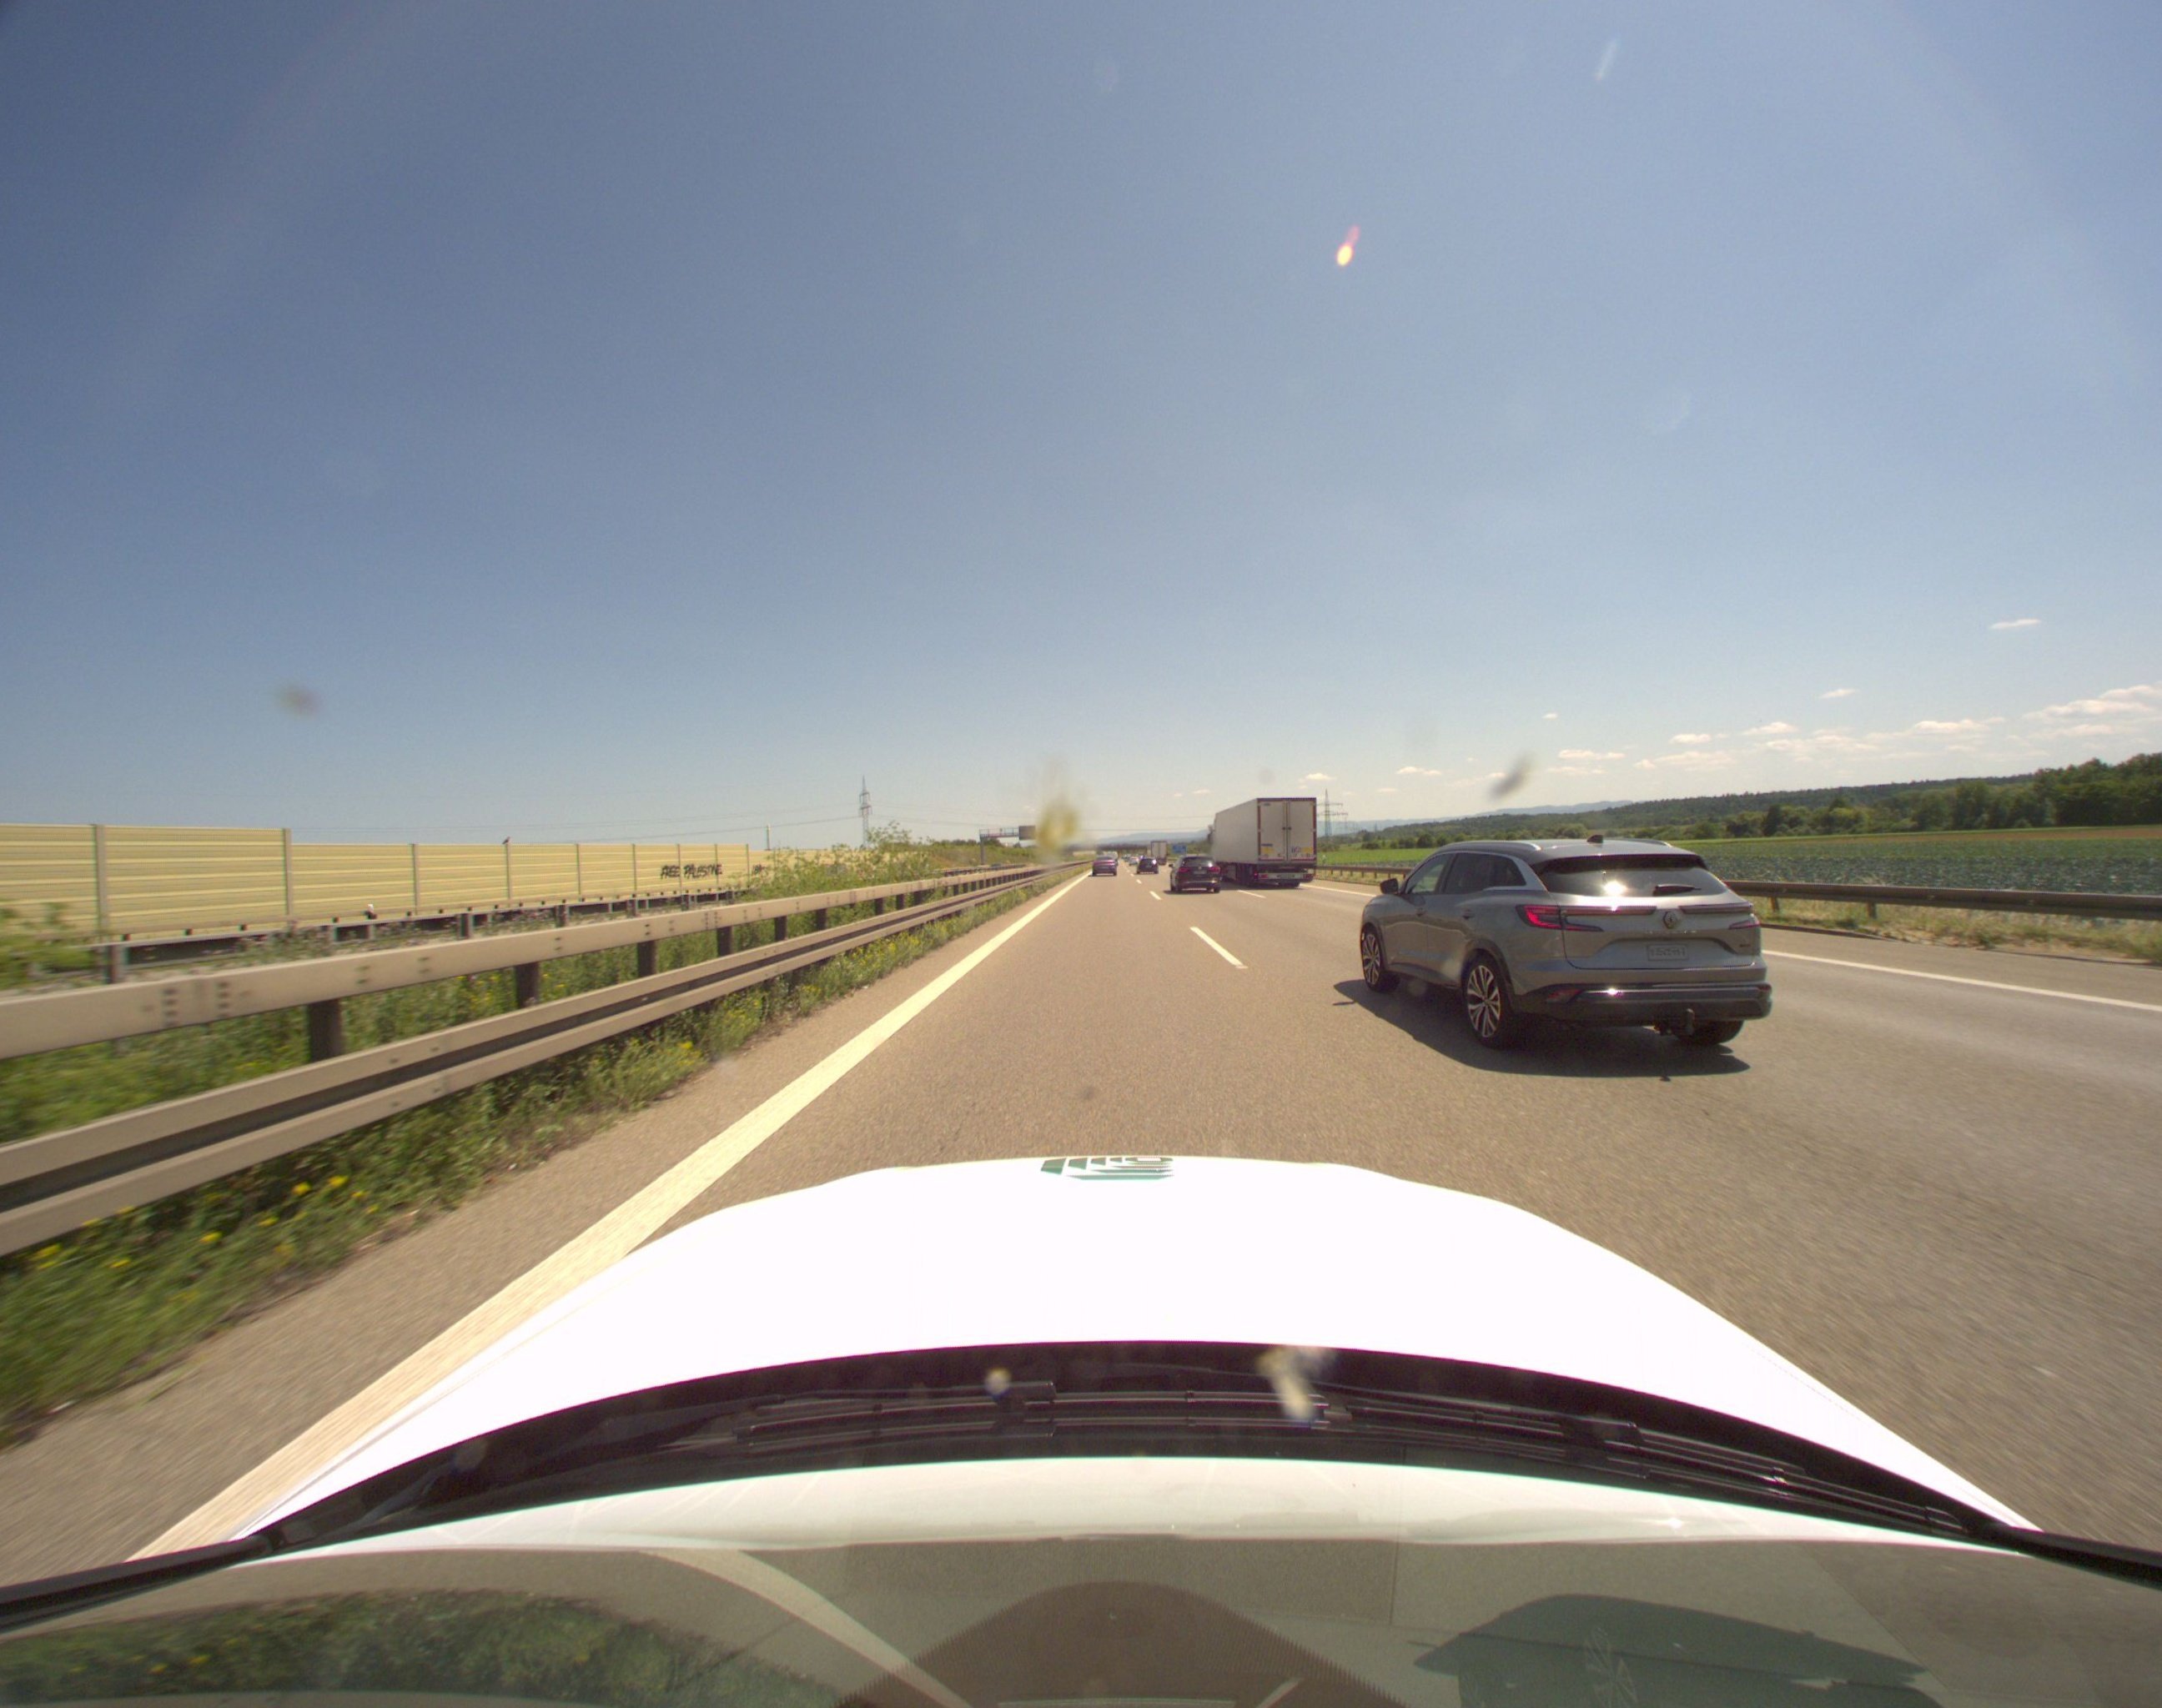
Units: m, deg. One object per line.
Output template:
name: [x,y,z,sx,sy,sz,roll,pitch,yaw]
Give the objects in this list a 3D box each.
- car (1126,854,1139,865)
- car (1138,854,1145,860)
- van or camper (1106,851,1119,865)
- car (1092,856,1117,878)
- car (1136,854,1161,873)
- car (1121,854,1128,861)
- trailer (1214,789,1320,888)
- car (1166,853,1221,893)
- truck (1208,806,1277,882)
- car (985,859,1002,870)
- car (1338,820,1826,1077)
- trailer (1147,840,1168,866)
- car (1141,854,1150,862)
car: [8.449,0.877,133.785,1.985,1.683,4.003,-1,-1,3]
car: [19.012,0.968,255.458,1.985,1.683,4.003,-1,-1,3]
van or camper: [5.233,0.666,134.831,2.102,2.211,5.269,-1,-1,3]
car: [1.884,1.037,66.253,1.845,1.664,3.734,-1,-1,0]
car: [5.907,0.835,71.522,1.925,1.574,4.937,-1,-1,2]
car: [11.768,0.982,219.359,1.985,1.683,4.003,-1,-1,3]
trailer: [9.092,-0.604,41.663,2.856,4.220,13.301,-1,-1,2]
car: [4.666,0.773,34.287,1.791,1.562,3.822,-1,-1,0]
truck: [9.331,-0.525,47.872,2.852,4.091,6.881,-1,-1,2]
car: [-12.662,1.522,118.164,1.986,1.420,4.002,-1,0,2]
car: [4.030,0.641,7.697,1.844,1.648,4.647,-2,-1,2]
trailer: [12.861,-0.120,137.960,2.931,4.198,13.606,-1,-1,3]
car: [14.575,0.850,184.429,1.985,1.683,4.003,-1,-1,3]
